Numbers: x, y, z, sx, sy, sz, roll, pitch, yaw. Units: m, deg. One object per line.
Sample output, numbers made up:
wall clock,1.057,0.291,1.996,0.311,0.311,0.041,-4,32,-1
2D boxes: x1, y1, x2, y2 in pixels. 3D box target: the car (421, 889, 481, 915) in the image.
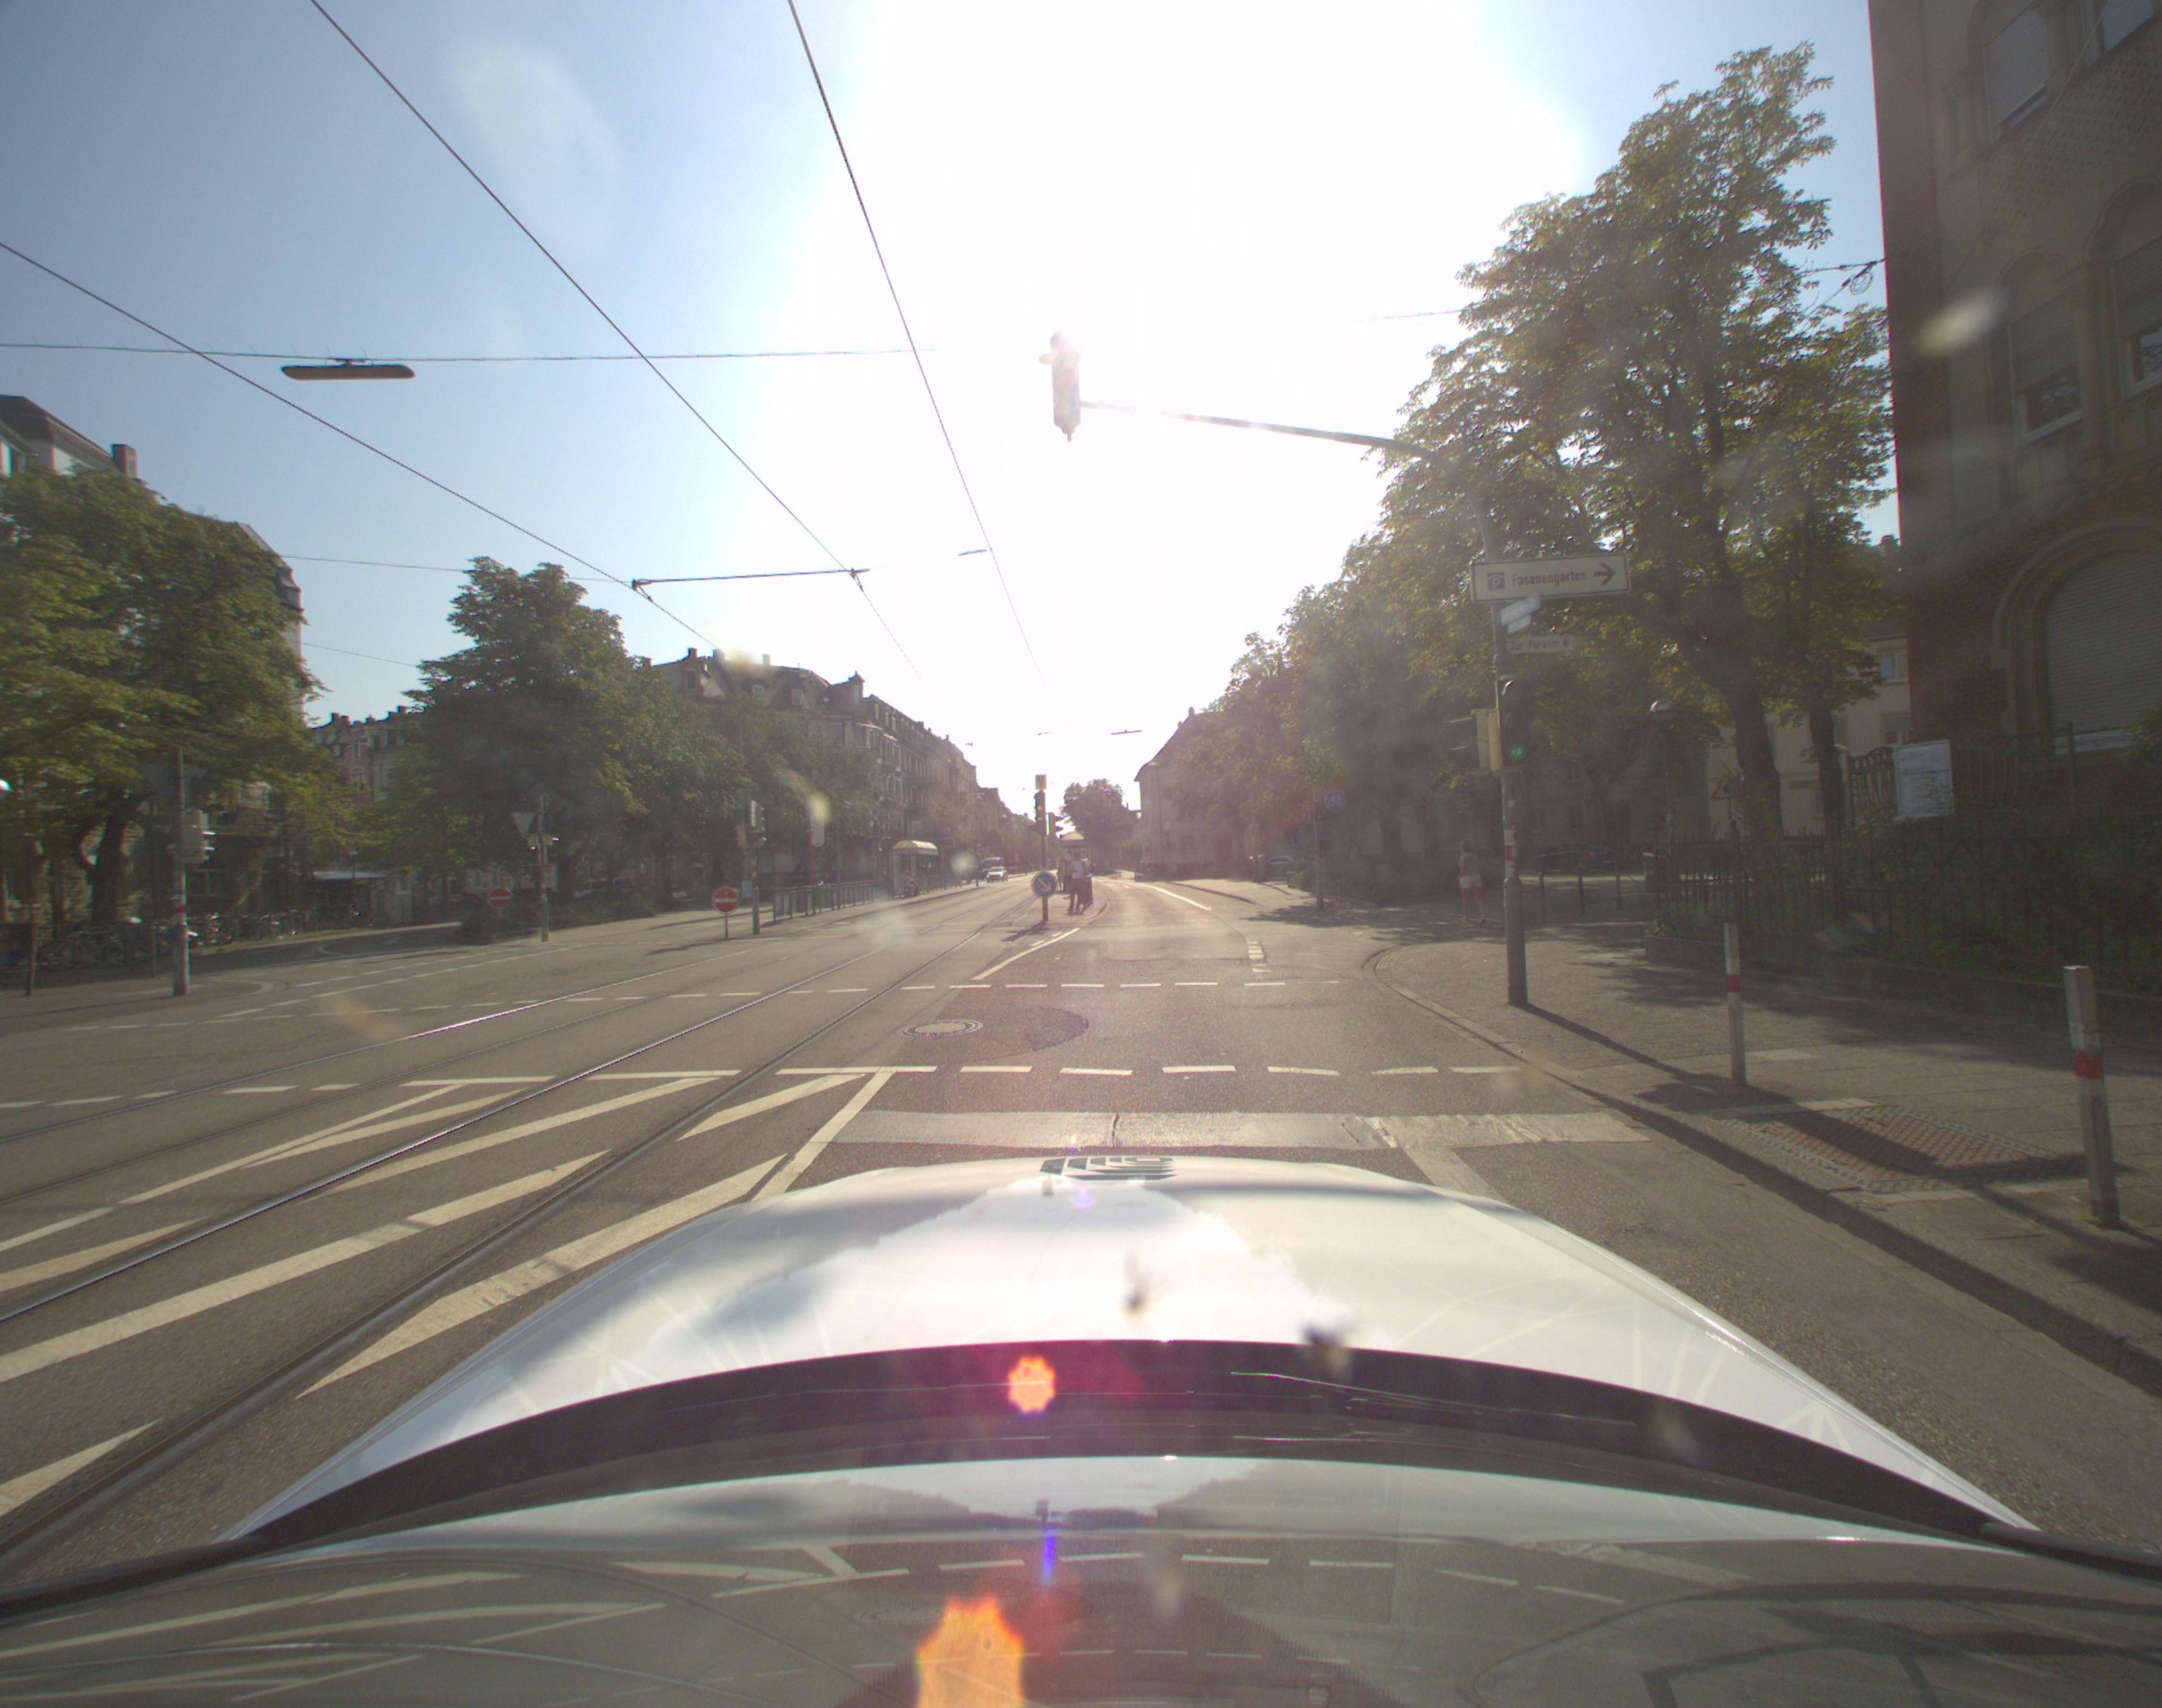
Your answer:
car,-50.067,3.793,64.755,3.952,1.828,2.011,-3,-1,22

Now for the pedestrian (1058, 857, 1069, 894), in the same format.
pedestrian,-0.855,1.045,40.025,0.530,1.759,0.545,0,2,2

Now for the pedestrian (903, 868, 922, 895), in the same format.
pedestrian,-8.784,1.444,42.485,0.826,1.359,0.775,-3,-1,-4

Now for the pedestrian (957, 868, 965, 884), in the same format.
pedestrian,-13.794,2.506,93.636,0.749,1.731,0.769,-3,-1,-8

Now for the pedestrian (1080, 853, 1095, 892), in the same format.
pedestrian,0.317,0.862,37.978,0.706,1.759,0.534,0,2,0

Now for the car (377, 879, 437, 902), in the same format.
car,-58.420,3.161,70.608,3.959,1.828,2.007,-3,-1,13

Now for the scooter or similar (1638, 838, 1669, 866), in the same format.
scooter or similar,27.202,-0.101,38.690,1.059,1.197,0.462,-7,-2,33

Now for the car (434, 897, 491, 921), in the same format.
car,-51.896,4.605,68.320,3.952,1.828,2.011,-3,-1,22

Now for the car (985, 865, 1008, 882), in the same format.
car,-8.833,2.056,85.428,1.795,1.653,3.643,-3,-1,2

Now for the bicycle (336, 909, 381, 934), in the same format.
bicycle,-33.559,3.121,37.852,0.423,0.978,1.770,-3,-1,0

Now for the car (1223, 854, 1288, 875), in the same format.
car,13.144,0.800,61.309,4.280,1.320,2.013,-3,-1,40

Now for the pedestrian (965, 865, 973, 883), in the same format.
pedestrian,-11.423,2.054,83.303,0.749,1.731,0.769,-3,-1,-8

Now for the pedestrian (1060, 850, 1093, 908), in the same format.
pedestrian,-0.133,0.747,24.814,0.693,1.725,0.753,1,2,33

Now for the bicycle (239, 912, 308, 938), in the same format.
bicycle,-32.760,2.867,33.056,1.877,0.935,0.635,-2,-2,-18

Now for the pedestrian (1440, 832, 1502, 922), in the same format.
pedestrian,7.812,0.457,16.340,0.749,1.731,0.769,-3,-1,-8

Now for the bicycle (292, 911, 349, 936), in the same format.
bicycle,-34.669,3.146,37.143,1.771,0.978,0.516,-3,-1,-22

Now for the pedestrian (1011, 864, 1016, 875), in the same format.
pedestrian,-10.852,2.471,130.579,0.749,1.731,0.769,-3,-1,-8

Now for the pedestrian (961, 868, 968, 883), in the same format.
pedestrian,-13.852,2.529,96.783,0.749,1.731,0.769,-3,-1,-8

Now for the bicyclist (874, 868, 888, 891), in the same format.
bicyclist,-16.408,2.066,66.875,0.992,1.857,0.489,-2,-1,-26

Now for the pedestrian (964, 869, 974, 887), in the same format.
pedestrian,-10.985,2.317,79.733,0.747,1.731,0.772,-3,-1,3

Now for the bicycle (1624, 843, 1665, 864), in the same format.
bicycle,27.357,-0.020,39.517,1.539,0.978,0.427,-3,-1,15

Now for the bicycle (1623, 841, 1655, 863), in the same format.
bicycle,28.027,-0.084,40.892,1.555,1.039,0.423,-3,-1,-18

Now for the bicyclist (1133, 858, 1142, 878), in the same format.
bicyclist,4.528,1.130,65.568,0.627,1.507,0.678,-3,-1,-1

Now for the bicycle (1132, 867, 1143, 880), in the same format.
bicycle,4.544,1.596,65.564,0.627,0.978,1.769,-3,-1,-1

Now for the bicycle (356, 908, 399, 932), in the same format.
bicycle,-33.182,3.118,38.438,0.423,0.978,1.770,-3,-1,0

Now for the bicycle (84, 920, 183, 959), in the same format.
bicycle,-27.811,2.490,23.943,1.814,0.983,0.652,-1,-2,-40

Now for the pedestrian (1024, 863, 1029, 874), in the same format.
pedestrian,-8.754,2.412,131.046,0.749,1.731,0.769,-3,-1,-8

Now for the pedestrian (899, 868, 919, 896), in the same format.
pedestrian,-8.776,1.430,41.508,0.826,1.359,0.775,-3,-1,-4

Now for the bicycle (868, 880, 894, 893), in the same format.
bicycle,-16.405,2.671,66.855,1.946,0.978,0.492,-2,-1,-26

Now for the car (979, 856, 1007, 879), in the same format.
car,-10.879,1.686,100.951,2.336,2.662,5.111,-3,-1,5

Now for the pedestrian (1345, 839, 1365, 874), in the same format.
pedestrian,14.078,0.129,41.844,0.883,1.740,0.780,-3,-1,20

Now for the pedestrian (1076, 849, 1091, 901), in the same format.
pedestrian,0.101,0.745,29.079,0.502,1.834,0.534,0,2,1

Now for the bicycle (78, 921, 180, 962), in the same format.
bicycle,-26.959,2.464,23.101,1.814,0.984,0.563,-1,-2,-40

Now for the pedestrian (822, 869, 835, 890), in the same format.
pedestrian,-21.483,2.210,69.386,0.775,1.731,0.744,-2,-1,-38

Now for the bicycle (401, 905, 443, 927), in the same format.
bicycle,-33.788,3.177,41.758,1.754,0.978,0.606,-3,-1,8

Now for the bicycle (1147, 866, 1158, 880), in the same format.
bicycle,5.351,1.424,60.811,0.556,0.978,1.855,-3,-1,-1

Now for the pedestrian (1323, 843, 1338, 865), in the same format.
pedestrian,20.465,0.030,66.801,0.781,1.740,0.883,-2,-1,-44

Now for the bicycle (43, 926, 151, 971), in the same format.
bicycle,-24.009,2.289,19.905,0.473,0.920,1.619,-3,-2,31

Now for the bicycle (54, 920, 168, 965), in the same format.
bicycle,-26.106,2.362,21.963,1.887,1.034,0.563,-1,-2,-39

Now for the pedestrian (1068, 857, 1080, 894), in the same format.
pedestrian,-0.319,1.011,38.602,0.541,1.759,0.534,0,2,1

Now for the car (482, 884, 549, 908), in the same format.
car,-41.947,3.125,60.377,4.284,1.569,2.011,-3,-1,22

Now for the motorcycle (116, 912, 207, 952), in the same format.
motorcycle,-30.188,2.540,26.763,1.882,1.154,0.601,-1,-2,-34

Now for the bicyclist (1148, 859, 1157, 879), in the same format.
bicyclist,5.329,1.117,60.829,0.556,1.417,0.871,-3,-1,-1

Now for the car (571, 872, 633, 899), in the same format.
car,-36.423,2.405,61.968,3.952,1.828,2.011,-3,-1,22

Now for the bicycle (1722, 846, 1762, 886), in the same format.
bicycle,17.601,0.321,21.672,1.779,0.978,0.421,-2,-1,-39

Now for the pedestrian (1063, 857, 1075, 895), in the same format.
pedestrian,-0.543,1.013,37.795,0.541,1.759,0.534,0,2,1

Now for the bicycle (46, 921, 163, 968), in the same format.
bicycle,-25.050,2.307,20.931,0.562,1.003,1.890,-3,-2,37

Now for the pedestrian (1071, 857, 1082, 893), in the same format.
pedestrian,-0.235,1.040,40.600,0.502,1.759,0.534,0,2,1

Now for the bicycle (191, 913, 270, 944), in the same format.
bicycle,-31.657,2.775,30.346,1.908,0.980,0.679,-1,-2,-34

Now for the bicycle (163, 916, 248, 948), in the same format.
bicycle,-31.064,2.754,28.940,1.919,0.935,0.730,-1,-2,-34

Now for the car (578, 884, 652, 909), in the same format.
car,-32.852,2.988,57.399,4.289,1.569,2.008,-3,-1,15

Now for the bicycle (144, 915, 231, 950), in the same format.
bicycle,-30.480,2.663,27.815,1.885,1.027,0.657,-1,-2,-34

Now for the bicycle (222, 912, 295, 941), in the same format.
bicycle,-31.990,2.802,31.710,1.908,0.980,0.679,-1,-2,-34

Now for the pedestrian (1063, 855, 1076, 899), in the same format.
pedestrian,-0.470,0.949,33.786,0.502,1.759,0.534,0,2,1

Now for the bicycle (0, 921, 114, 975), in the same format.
bicycle,-24.904,2.254,19.688,0.563,1.113,1.888,-3,-1,21

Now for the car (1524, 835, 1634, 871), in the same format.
car,22.492,-0.009,36.993,1.859,1.418,3.975,-2,-1,-18

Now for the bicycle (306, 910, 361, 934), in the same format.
bicycle,-34.792,3.155,37.920,1.772,0.978,0.600,-3,-1,-23
